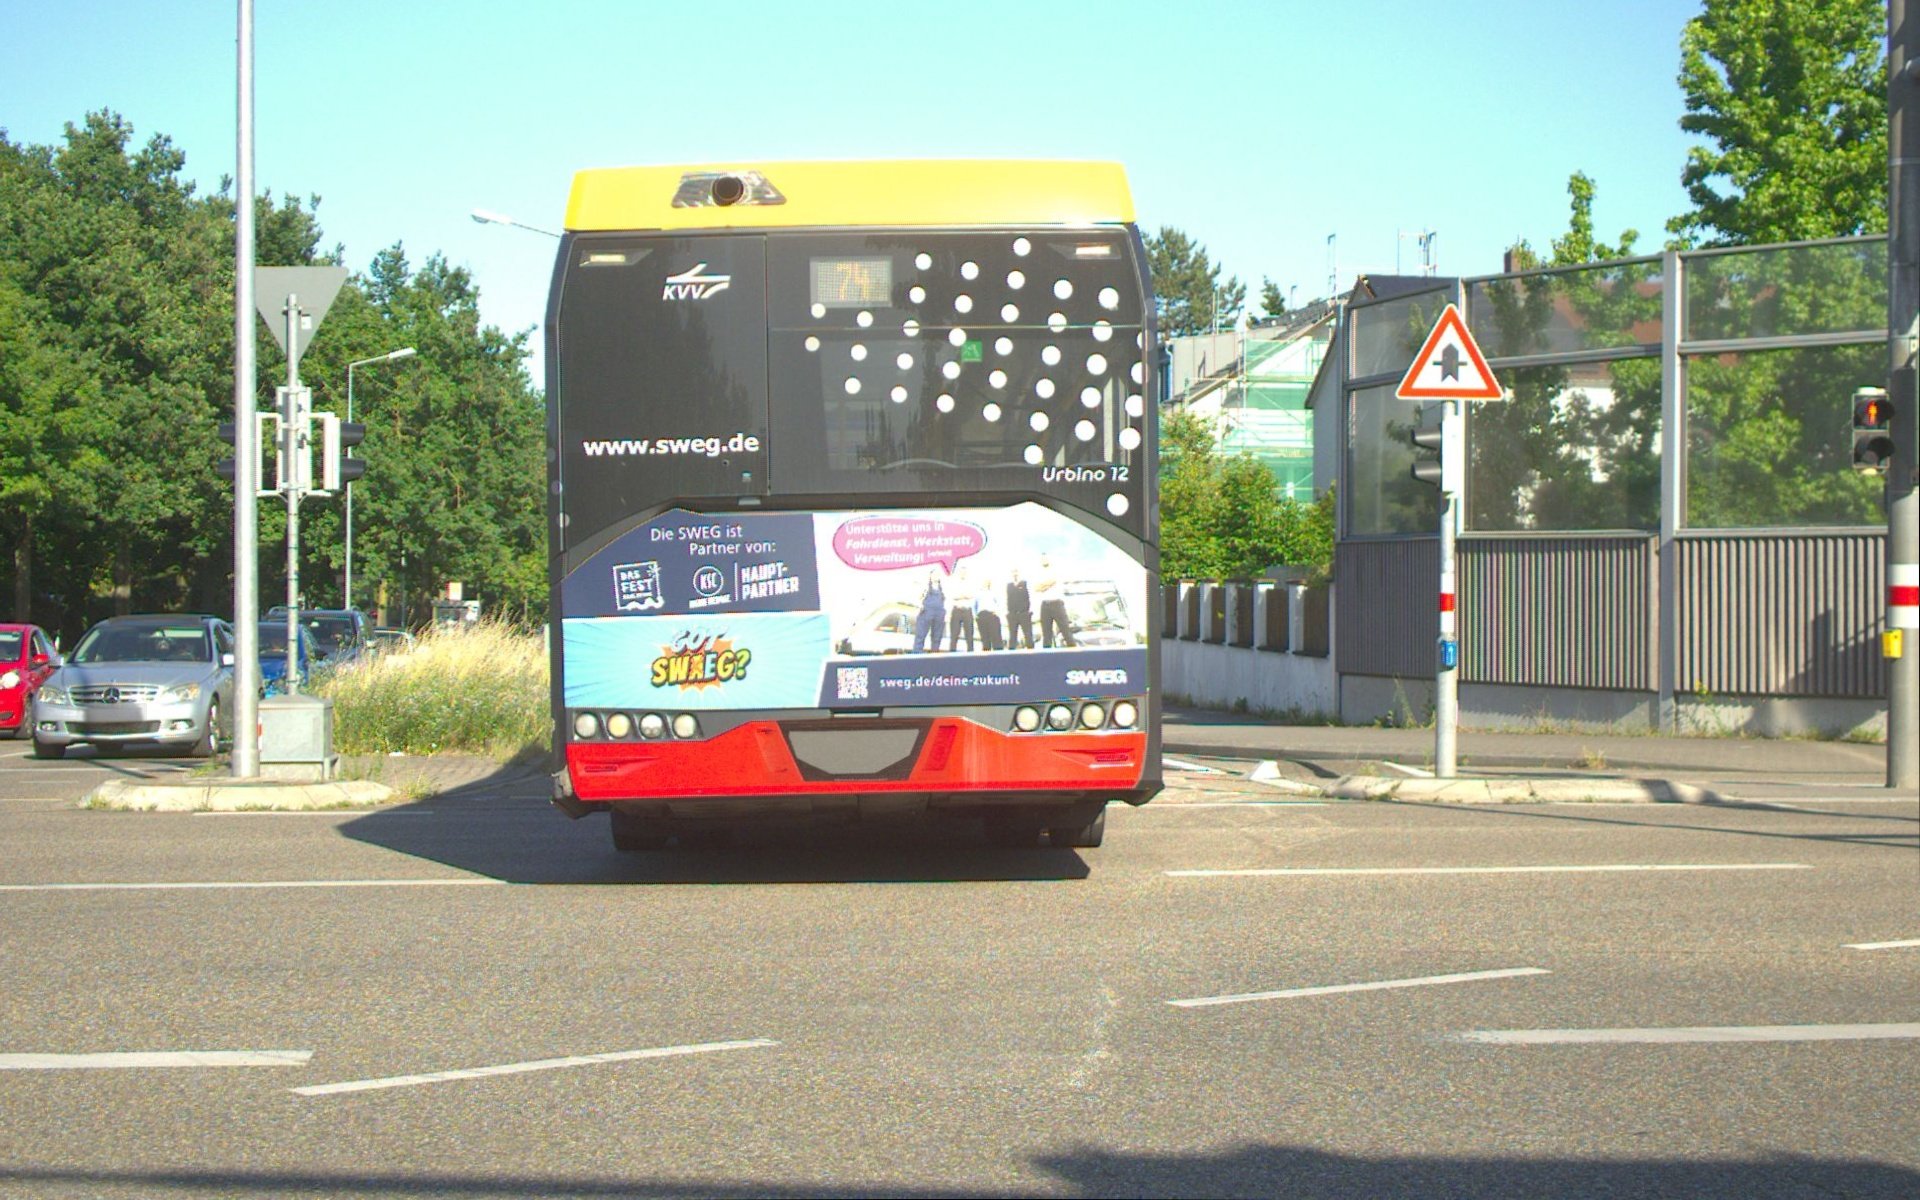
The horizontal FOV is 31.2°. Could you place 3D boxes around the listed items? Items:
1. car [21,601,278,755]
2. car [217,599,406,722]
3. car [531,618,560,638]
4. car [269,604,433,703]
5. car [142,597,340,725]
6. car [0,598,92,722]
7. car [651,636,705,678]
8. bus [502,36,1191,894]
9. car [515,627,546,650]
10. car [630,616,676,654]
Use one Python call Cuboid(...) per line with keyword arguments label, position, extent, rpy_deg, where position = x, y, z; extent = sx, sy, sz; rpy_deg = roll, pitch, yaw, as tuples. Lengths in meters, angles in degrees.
Cuboid(label="car", position=(-8.329, 0.763, 35.703), extent=(1.793, 1.501, 4.530), rpy_deg=(0, 0, -3))
Cuboid(label="car", position=(-8.865, 0.798, 47.330), extent=(1.993, 1.611, 4.531), rpy_deg=(0, 0, -3))
Cuboid(label="car", position=(-31.212, 2.111, 258.916), extent=(1.933, 1.449, 4.001), rpy_deg=(1, -1, -10))
Cuboid(label="car", position=(-9.357, 0.791, 53.109), extent=(1.993, 1.445, 4.399), rpy_deg=(0, 0, -3))
Cuboid(label="car", position=(-8.662, 0.712, 41.704), extent=(1.746, 1.478, 3.888), rpy_deg=(0, 0, -3))
Cuboid(label="car", position=(-12.004, 0.720, 42.705), extent=(1.645, 1.478, 3.714), rpy_deg=(0, 0, -3))
Cuboid(label="car", position=(-11.733, 2.343, 142.822), extent=(1.935, 1.698, 4.001), rpy_deg=(1, -1, -9))
Cuboid(label="bus", position=(-0.676, -0.646, 20.062), extent=(2.757, 3.446, 12.399), rpy_deg=(0, 1, -2))
Cuboid(label="car", position=(-29.110, 2.595, 232.718), extent=(1.933, 1.537, 4.001), rpy_deg=(1, -1, -9))
Cuboid(label="car", position=(-14.731, 1.674, 164.755), extent=(1.933, 1.736, 4.001), rpy_deg=(1, -1, -9))
